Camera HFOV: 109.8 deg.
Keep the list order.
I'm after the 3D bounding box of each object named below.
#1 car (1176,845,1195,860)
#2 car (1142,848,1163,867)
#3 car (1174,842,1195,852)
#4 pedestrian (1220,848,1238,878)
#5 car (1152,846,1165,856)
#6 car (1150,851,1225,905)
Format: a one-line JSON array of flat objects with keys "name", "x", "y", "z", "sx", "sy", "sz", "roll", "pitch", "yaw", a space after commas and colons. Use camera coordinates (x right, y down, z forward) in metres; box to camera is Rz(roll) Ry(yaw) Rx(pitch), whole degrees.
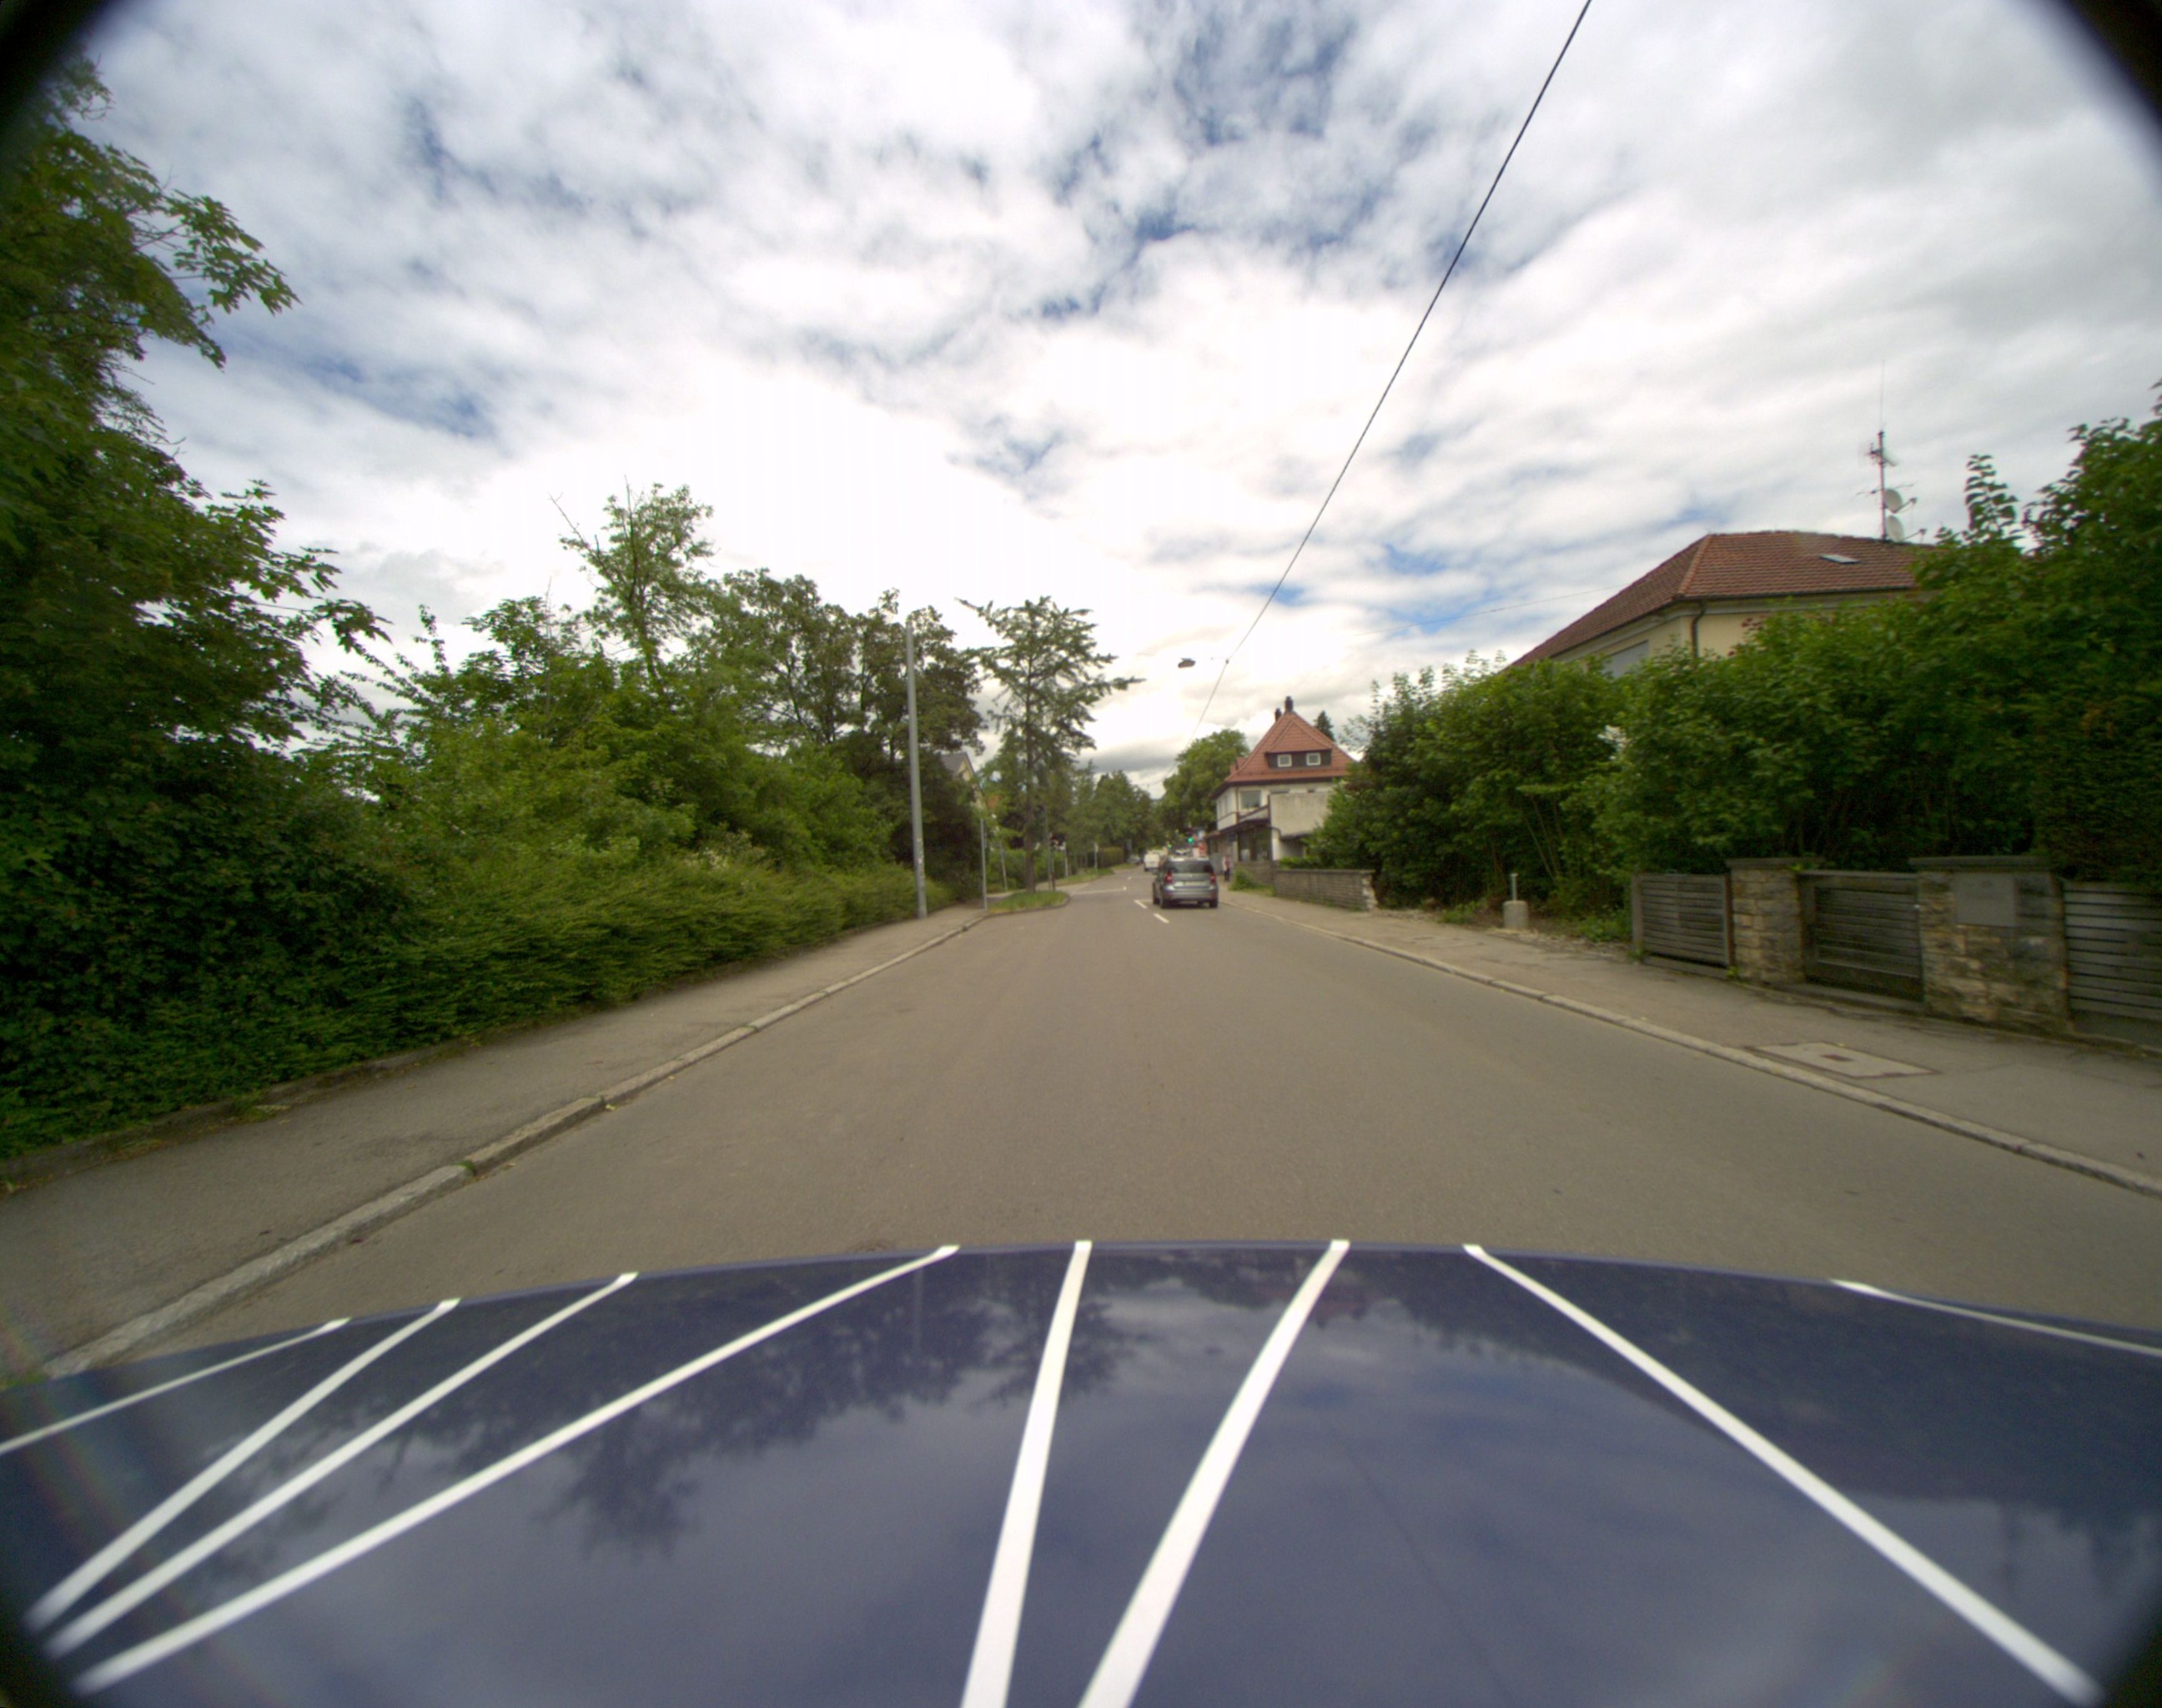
[{"name": "car", "x": 13.099, "y": -0.228, "z": 95.414, "sx": 1.771, "sy": 1.668, "sz": 4.000, "roll": -5, "pitch": 0, "yaw": 1}, {"name": "car", "x": 8.158, "y": 0.373, "z": 87.116, "sx": 1.884, "sy": 1.905, "sz": 4.833, "roll": -4, "pitch": 0, "yaw": 1}, {"name": "car", "x": 22.023, "y": -1.440, "z": 161.589, "sx": 3.993, "sy": 1.729, "sz": 2.002, "roll": -5, "pitch": 1, "yaw": 14}, {"name": "pedestrian", "x": 8.756, "y": 0.527, "z": 44.955, "sx": 0.821, "sy": 1.734, "sz": 0.604, "roll": -5, "pitch": 1, "yaw": 2}, {"name": "car", "x": 13.818, "y": -0.573, "z": 135.774, "sx": 1.998, "sy": 1.686, "sz": 4.000, "roll": -5, "pitch": 0, "yaw": 1}, {"name": "car", "x": 3.449, "y": 0.729, "z": 25.269, "sx": 1.845, "sy": 1.646, "sz": 4.138, "roll": 0, "pitch": 0, "yaw": -1}]
